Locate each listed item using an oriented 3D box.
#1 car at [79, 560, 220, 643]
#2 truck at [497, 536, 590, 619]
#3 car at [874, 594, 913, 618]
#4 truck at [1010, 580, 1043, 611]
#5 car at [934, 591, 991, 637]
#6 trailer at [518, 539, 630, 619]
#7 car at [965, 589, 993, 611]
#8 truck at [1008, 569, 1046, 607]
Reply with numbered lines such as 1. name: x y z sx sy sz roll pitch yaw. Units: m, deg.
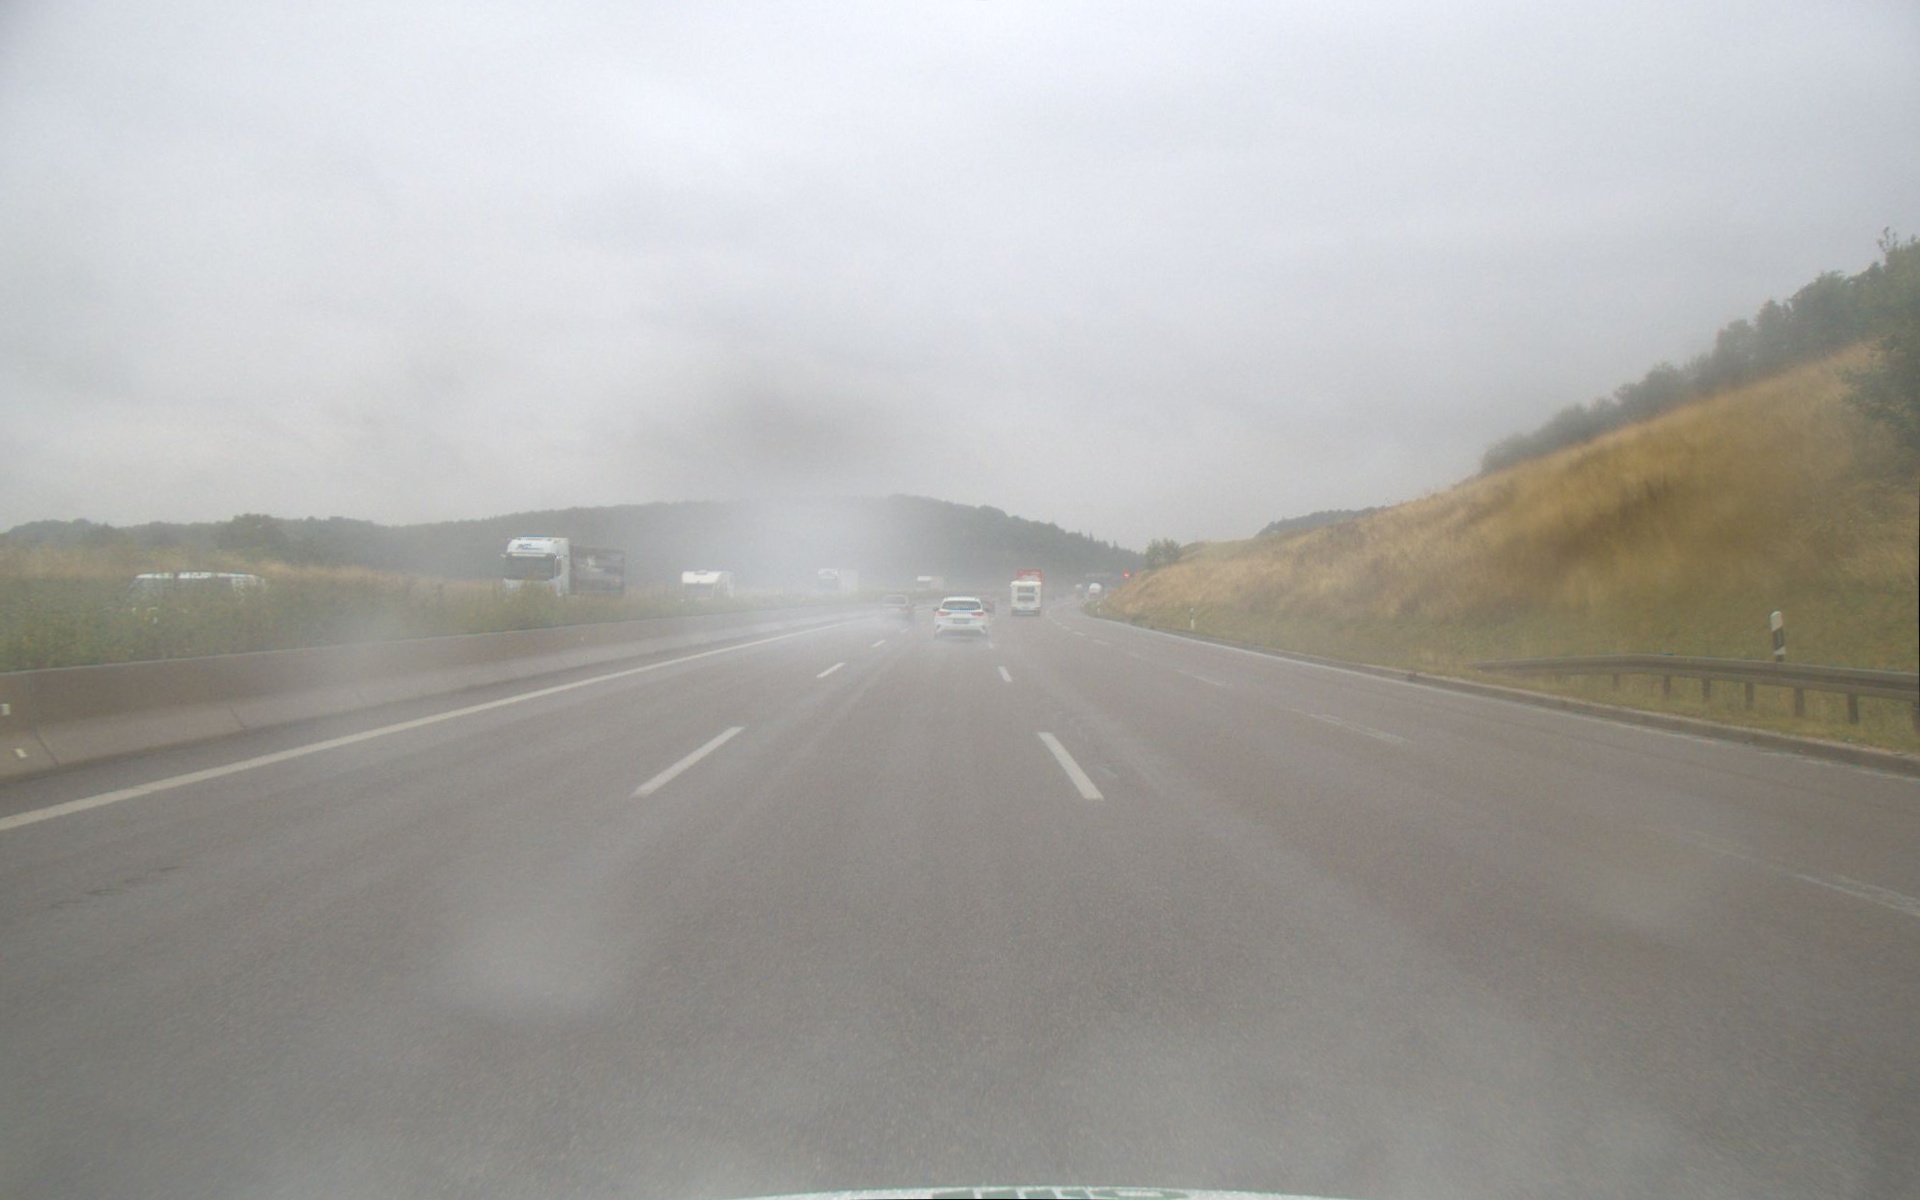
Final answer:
1. car: -16.056 0.054 32.902 1.314 1.556 3.018 1 -1 -1
2. truck: -19.387 -1.002 77.395 2.722 3.671 5.740 1 -1 1
3. car: -3.436 0.334 85.082 1.788 1.177 4.208 1 -1 -5
4. truck: 4.934 -0.330 123.719 2.358 2.292 4.694 0 0 1
5. car: 0.043 0.466 55.556 1.829 1.488 3.999 1 -1 -1
6. trailer: -19.229 -0.926 83.236 2.706 3.684 11.150 1 -1 1
7. car: 1.404 0.002 123.719 1.953 1.646 3.999 1 0 -1
8. truck: 6.905 -1.304 172.465 3.455 3.808 11.426 1 1 0
